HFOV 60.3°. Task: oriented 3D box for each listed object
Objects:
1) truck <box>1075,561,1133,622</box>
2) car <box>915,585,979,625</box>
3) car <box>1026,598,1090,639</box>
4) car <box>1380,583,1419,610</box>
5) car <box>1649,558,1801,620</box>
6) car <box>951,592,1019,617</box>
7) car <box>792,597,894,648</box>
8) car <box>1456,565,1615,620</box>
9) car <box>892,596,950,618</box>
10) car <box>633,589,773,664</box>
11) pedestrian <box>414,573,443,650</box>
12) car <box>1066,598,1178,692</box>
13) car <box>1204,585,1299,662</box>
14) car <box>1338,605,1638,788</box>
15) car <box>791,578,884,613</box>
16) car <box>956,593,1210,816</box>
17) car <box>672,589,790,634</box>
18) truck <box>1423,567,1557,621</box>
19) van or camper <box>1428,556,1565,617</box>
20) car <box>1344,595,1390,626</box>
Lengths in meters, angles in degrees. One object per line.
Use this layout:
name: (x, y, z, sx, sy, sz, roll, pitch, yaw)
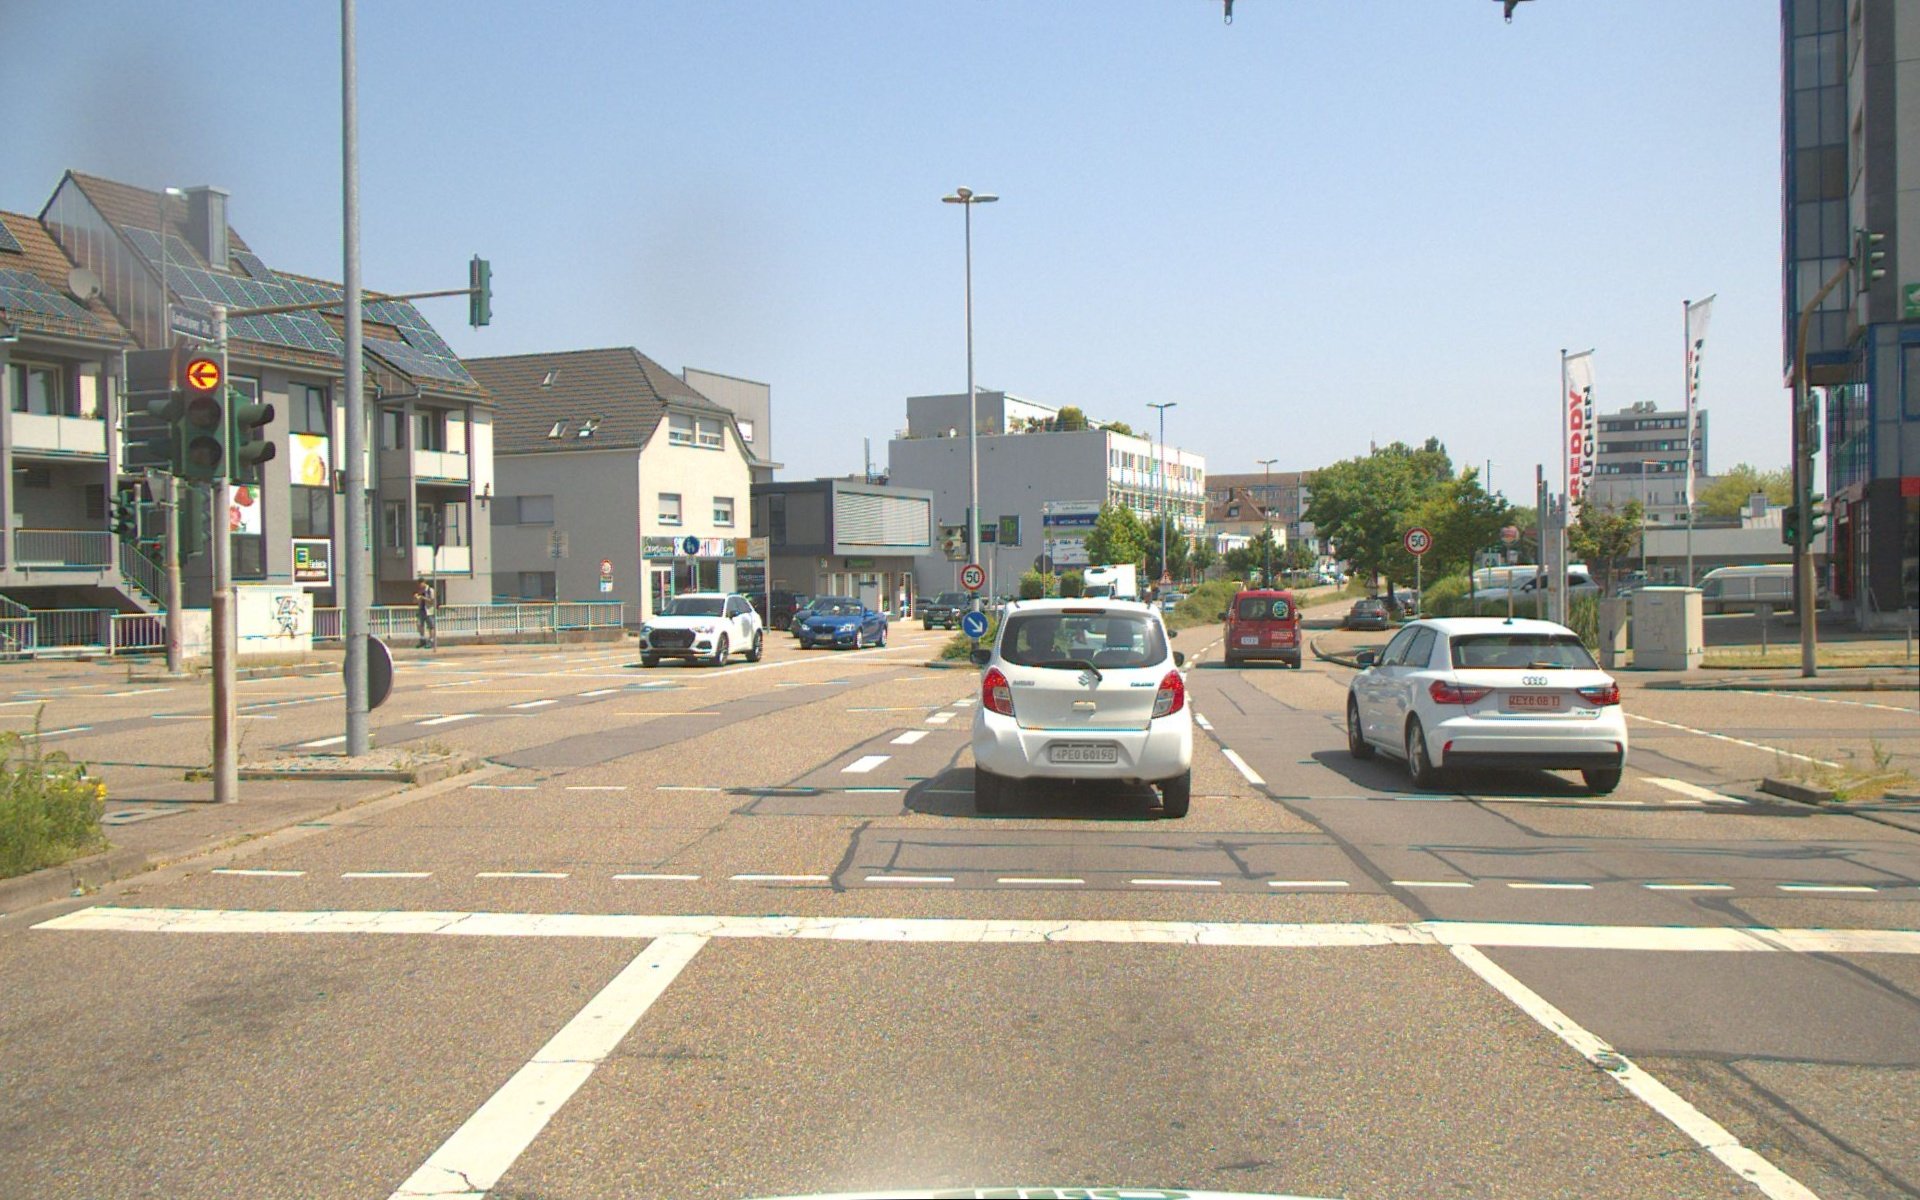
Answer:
truck: (8.706, -0.476, 99.170, 2.216, 3.477, 7.043, 0, 0, 15)
car: (-0.526, 0.193, 73.148, 1.951, 1.685, 4.598, -1, 1, 10)
car: (3.764, 0.680, 62.969, 1.823, 1.456, 4.749, 0, 0, 11)
car: (28.651, -0.235, 107.825, 1.920, 1.556, 5.162, -4, 0, 20)
car: (32.288, -0.464, 69.981, 5.767, 2.573, 2.119, 0, -1, 24)
car: (1.572, 0.302, 102.528, 3.902, 1.484, 1.576, -1, -1, 16)
car: (-3.373, 0.631, 48.509, 1.823, 1.390, 4.350, 0, 0, 12)
car: (19.203, -0.242, 55.337, 4.632, 1.743, 1.998, 1, 0, -5)
car: (-2.887, 0.500, 122.601, 3.887, 1.493, 1.966, -1, 1, 15)
car: (-5.792, 0.562, 37.798, 1.778, 1.597, 4.560, 0, 0, 10)
pedestrian: (-14.375, 0.305, 44.733, 0.492, 2.048, 0.743, 0, 1, 4)
car: (2.796, 0.718, 28.573, 1.791, 1.475, 4.003, 0, 0, 5)
car: (6.968, 0.526, 39.864, 1.757, 1.759, 3.974, 0, 0, 3)
car: (4.648, 0.775, 15.110, 1.632, 1.423, 3.794, 1, 0, 2)
car: (-5.855, -0.219, 79.373, 3.971, 1.548, 2.001, -1, 0, 18)
car: (0.856, 0.737, 13.135, 1.677, 1.537, 3.246, 0, 0, -2)
car: (-9.632, 0.455, 69.614, 4.511, 1.655, 1.854, 3, 1, 20)
truck: (26.279, -0.296, 82.021, 6.117, 2.377, 2.369, -2, 1, 22)
van or camper: (27.965, -0.703, 86.241, 6.655, 2.948, 2.276, -2, 1, 20)
car: (19.638, 0.486, 79.689, 1.760, 1.430, 4.322, 1, 1, 19)
